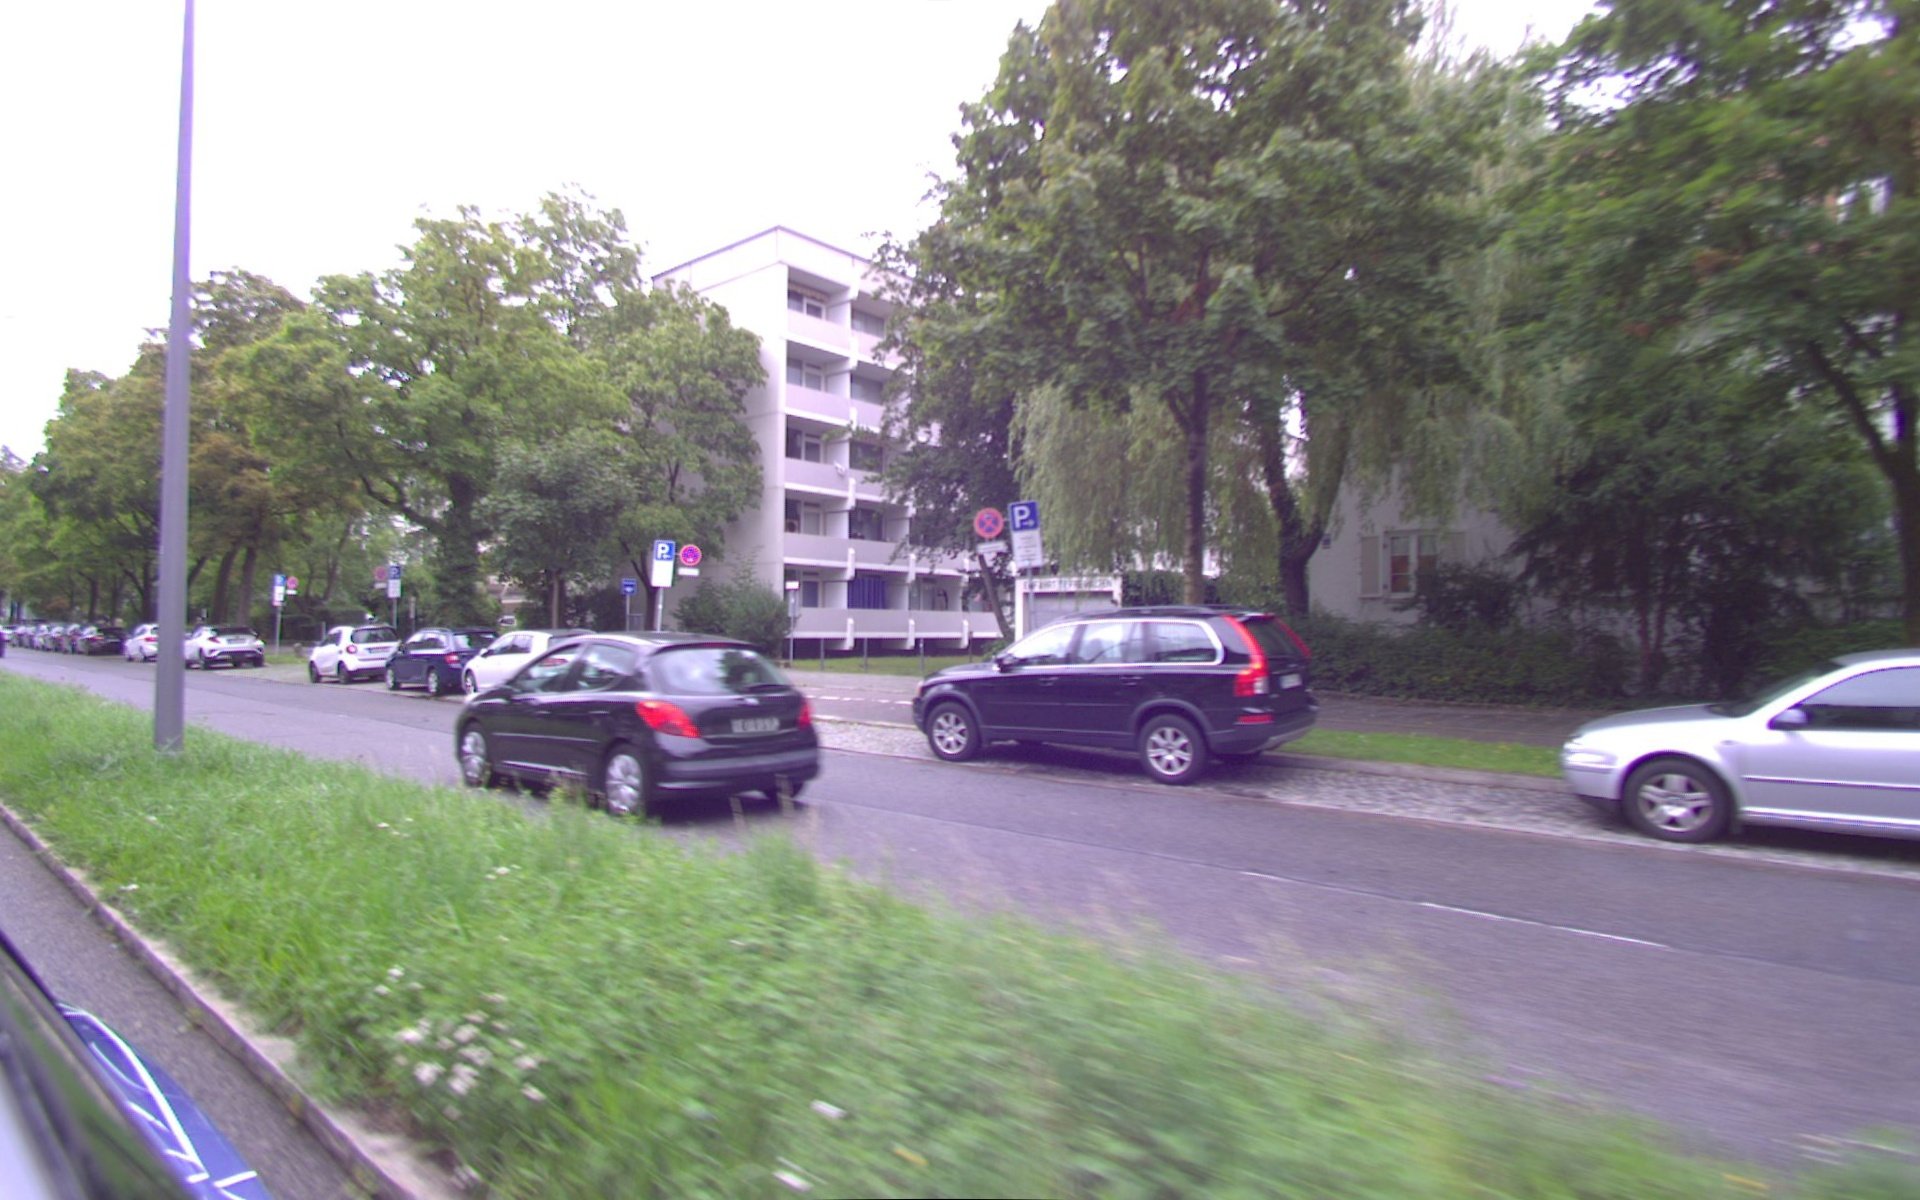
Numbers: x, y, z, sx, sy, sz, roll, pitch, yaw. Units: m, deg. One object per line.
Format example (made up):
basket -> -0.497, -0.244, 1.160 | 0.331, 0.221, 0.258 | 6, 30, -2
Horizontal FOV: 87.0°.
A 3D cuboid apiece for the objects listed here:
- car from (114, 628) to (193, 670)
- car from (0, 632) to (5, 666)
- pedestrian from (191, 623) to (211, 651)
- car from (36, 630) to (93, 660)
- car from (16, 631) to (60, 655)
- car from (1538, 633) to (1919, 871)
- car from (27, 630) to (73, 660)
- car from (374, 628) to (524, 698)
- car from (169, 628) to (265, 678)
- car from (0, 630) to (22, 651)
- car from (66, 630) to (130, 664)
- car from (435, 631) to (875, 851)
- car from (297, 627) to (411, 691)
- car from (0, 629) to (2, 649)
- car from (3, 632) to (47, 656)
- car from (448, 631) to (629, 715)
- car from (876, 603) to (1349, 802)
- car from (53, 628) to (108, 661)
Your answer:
car -> -33.828, 2.002, 42.412 | 4.485, 1.607, 1.739 | -2, 0, 40
car -> -43.175, 2.103, 44.165 | 4.213, 1.451, 1.721 | -2, -3, 41
pedestrian -> -45.689, 2.211, 60.926 | 0.609, 1.669, 0.839 | -2, -3, 45
car -> -50.529, 2.509, 57.069 | 5.031, 1.536, 1.699 | -2, 0, 40
car -> -57.940, 2.676, 63.576 | 4.190, 1.434, 1.608 | -2, 0, 42
car -> 6.734, 1.002, 7.134 | 4.372, 1.456, 1.649 | -2, 0, 41
car -> -54.420, 2.658, 60.515 | 3.866, 1.660, 1.609 | -2, 0, 42
car -> -11.948, 1.403, 23.555 | 4.213, 1.486, 1.657 | -1, -3, 41
car -> -26.351, 1.830, 35.825 | 4.489, 1.621, 1.813 | -2, 0, 42
car -> -71.985, 3.021, 75.997 | 4.819, 1.459, 1.719 | -2, 0, 40
car -> -42.911, 2.302, 50.353 | 4.945, 1.525, 1.742 | -2, 0, 42
car -> -2.777, 1.010, 8.727 | 4.101, 1.453, 1.719 | -2, -3, 41
car -> -16.510, 1.553, 27.544 | 3.076, 1.577, 1.674 | -2, 0, 39
car -> -79.551, 3.192, 82.503 | 4.473, 1.541, 1.721 | -2, -1, 41
car -> -61.914, 2.892, 66.995 | 4.359, 1.434, 1.564 | -2, 0, 40
car -> -8.633, 1.409, 20.574 | 4.318, 1.454, 1.657 | -2, 0, 42
car -> 1.544, 1.002, 11.502 | 5.049, 1.776, 1.780 | -2, 0, 37
car -> -46.488, 2.318, 53.481 | 4.208, 1.609, 1.668 | -2, 0, 42
